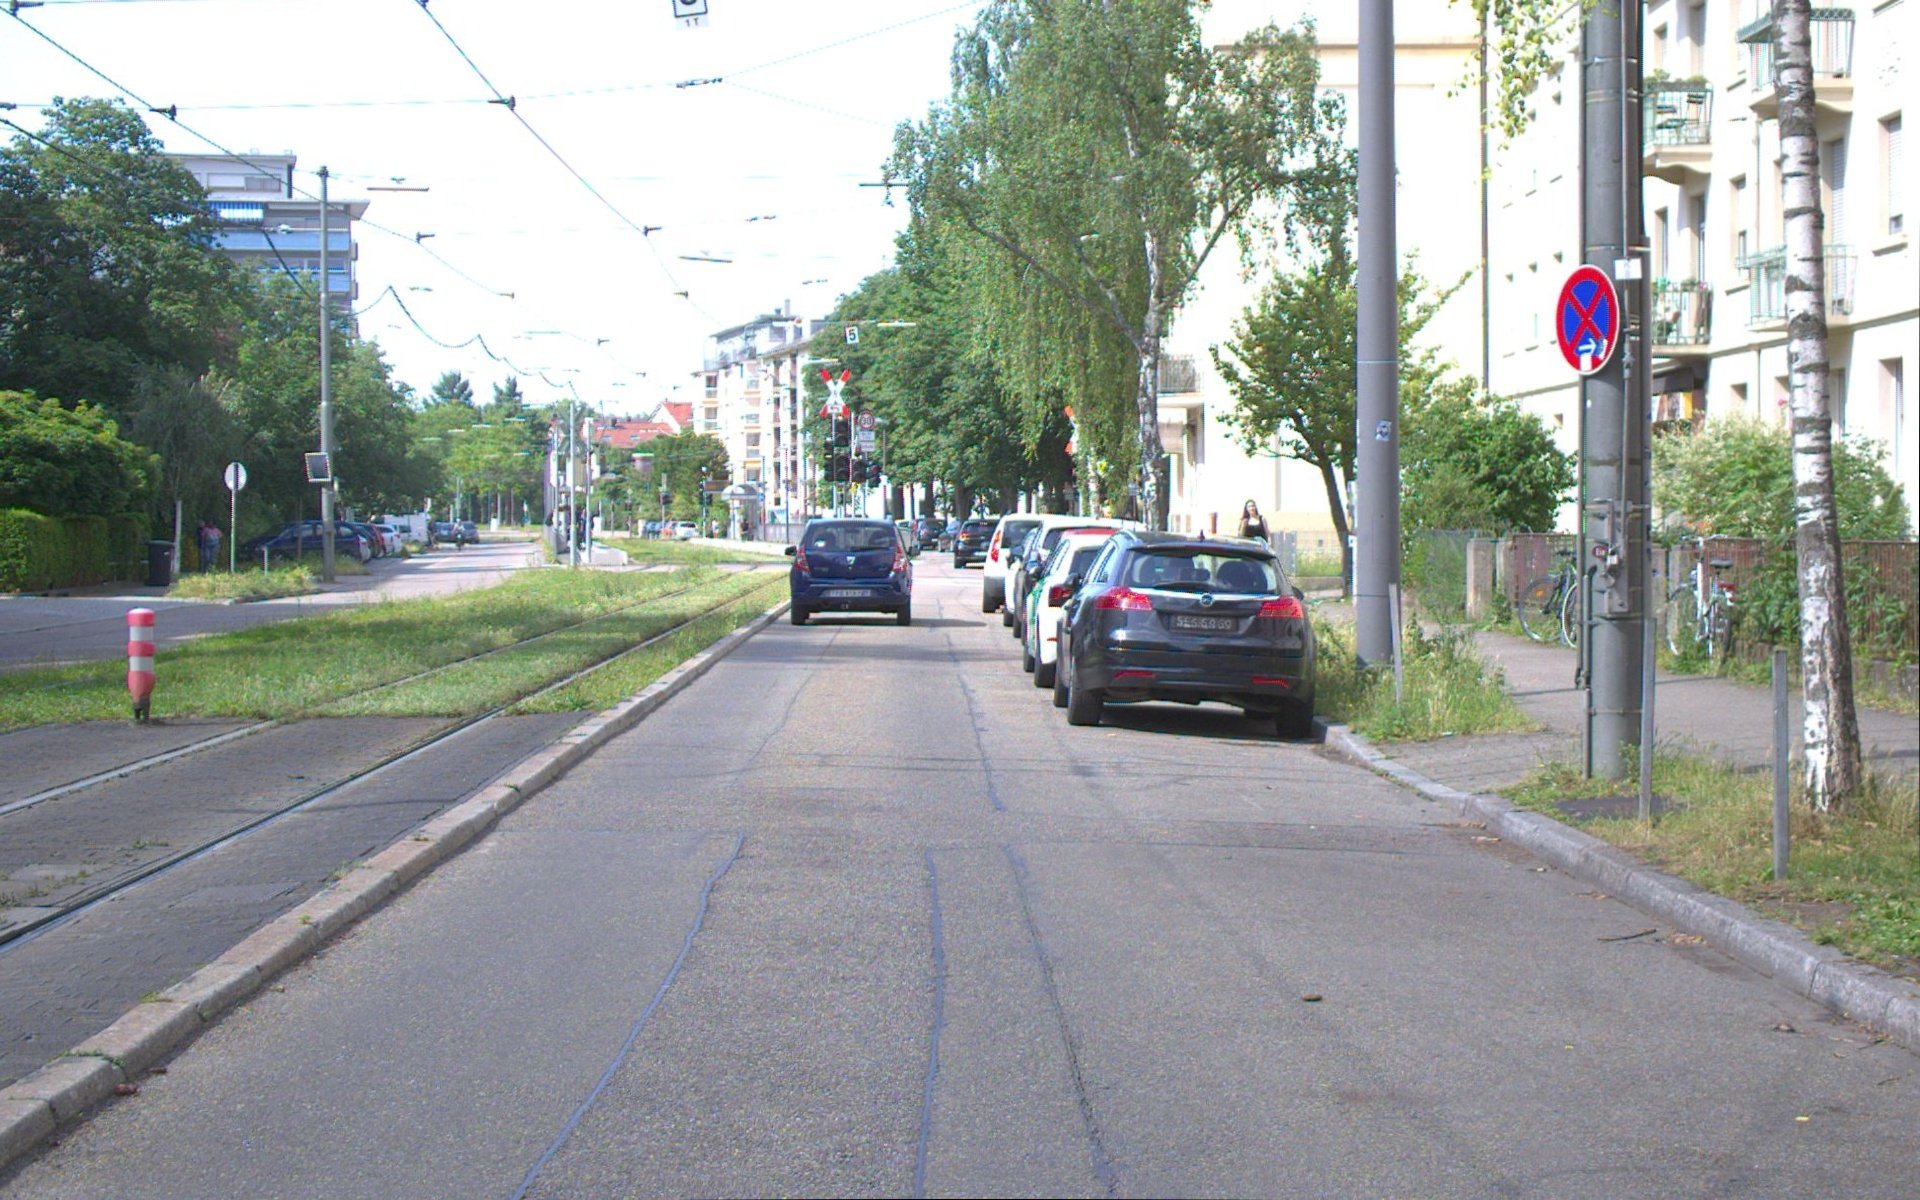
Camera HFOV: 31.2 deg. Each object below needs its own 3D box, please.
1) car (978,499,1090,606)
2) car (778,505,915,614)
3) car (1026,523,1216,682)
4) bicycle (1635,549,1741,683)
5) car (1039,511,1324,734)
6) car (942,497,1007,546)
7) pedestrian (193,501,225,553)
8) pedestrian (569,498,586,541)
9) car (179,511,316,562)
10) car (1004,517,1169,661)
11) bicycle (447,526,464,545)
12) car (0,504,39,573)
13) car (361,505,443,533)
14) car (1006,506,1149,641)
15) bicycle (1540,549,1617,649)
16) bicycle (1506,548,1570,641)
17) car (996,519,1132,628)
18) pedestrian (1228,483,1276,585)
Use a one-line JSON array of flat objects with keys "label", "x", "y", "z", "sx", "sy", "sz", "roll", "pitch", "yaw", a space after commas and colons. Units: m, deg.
[{"label": "car", "x": 1.252, "y": -0.801, "z": 56.496, "sx": 1.721, "sy": 1.624, "sz": 4.000, "roll": 2, "pitch": 1, "yaw": 2}, {"label": "car", "x": -1.591, "y": -0.609, "z": 49.143, "sx": 1.768, "sy": 1.457, "sz": 3.776, "roll": 1, "pitch": 2, "yaw": 1}, {"label": "car", "x": 1.510, "y": -0.019, "z": 33.439, "sx": 1.619, "sy": 1.447, "sz": 3.919, "roll": 0, "pitch": 1, "yaw": -1}, {"label": "bicycle", "x": 6.246, "y": 0.114, "z": 29.570, "sx": 0.471, "sy": 1.073, "sz": 2.183, "roll": -1, "pitch": 2, "yaw": 1}, {"label": "car", "x": 1.642, "y": 0.106, "z": 26.937, "sx": 1.792, "sy": 1.515, "sz": 4.527, "roll": 2, "pitch": 2, "yaw": -1}, {"label": "car", "x": 0.409, "y": -2.330, "z": 101.357, "sx": 1.700, "sy": 1.363, "sz": 3.515, "roll": 2, "pitch": 2, "yaw": -2}, {"label": "pedestrian", "x": -23.108, "y": -2.237, "z": 105.770, "sx": 0.745, "sy": 1.568, "sz": 0.889, "roll": 0, "pitch": 0, "yaw": 2}, {"label": "pedestrian", "x": -15.607, "y": -3.297, "z": 140.363, "sx": 0.604, "sy": 1.760, "sz": 0.639, "roll": 0, "pitch": 1, "yaw": 3}, {"label": "car", "x": -23.420, "y": -2.105, "z": 113.086, "sx": 1.725, "sy": 1.635, "sz": 4.122, "roll": 1, "pitch": 2, "yaw": 45}, {"label": "car", "x": 1.377, "y": -0.162, "z": 38.543, "sx": 1.589, "sy": 1.447, "sz": 3.845, "roll": 3, "pitch": 1, "yaw": -1}, {"label": "bicycle", "x": -26.475, "y": -3.408, "z": 180.410, "sx": 0.680, "sy": 0.967, "sz": 2.179, "roll": -1, "pitch": 2, "yaw": -3}, {"label": "car", "x": -23.550, "y": -1.420, "z": 79.524, "sx": 3.986, "sy": 1.590, "sz": 2.000, "roll": 0, "pitch": 1, "yaw": -3}, {"label": "car", "x": -29.822, "y": -4.338, "z": 183.849, "sx": 3.989, "sy": 1.442, "sz": 1.727, "roll": -2, "pitch": 2, "yaw": -40}, {"label": "car", "x": 1.434, "y": -0.373, "z": 43.207, "sx": 1.493, "sy": 1.574, "sz": 3.760, "roll": 2, "pitch": 2, "yaw": -2}, {"label": "bicycle", "x": 6.170, "y": -0.026, "z": 34.374, "sx": 0.377, "sy": 0.940, "sz": 2.009, "roll": 0, "pitch": 2, "yaw": -1}, {"label": "bicycle", "x": 6.103, "y": -0.068, "z": 36.326, "sx": 0.387, "sy": 0.935, "sz": 1.586, "roll": 0, "pitch": 2, "yaw": -1}, {"label": "car", "x": 1.435, "y": -0.405, "z": 48.804, "sx": 1.672, "sy": 1.412, "sz": 3.796, "roll": 3, "pitch": 1, "yaw": -1}, {"label": "pedestrian", "x": 4.915, "y": -1.117, "z": 57.880, "sx": 0.730, "sy": 1.677, "sz": 0.691, "roll": -2, "pitch": 1, "yaw": 3}]
